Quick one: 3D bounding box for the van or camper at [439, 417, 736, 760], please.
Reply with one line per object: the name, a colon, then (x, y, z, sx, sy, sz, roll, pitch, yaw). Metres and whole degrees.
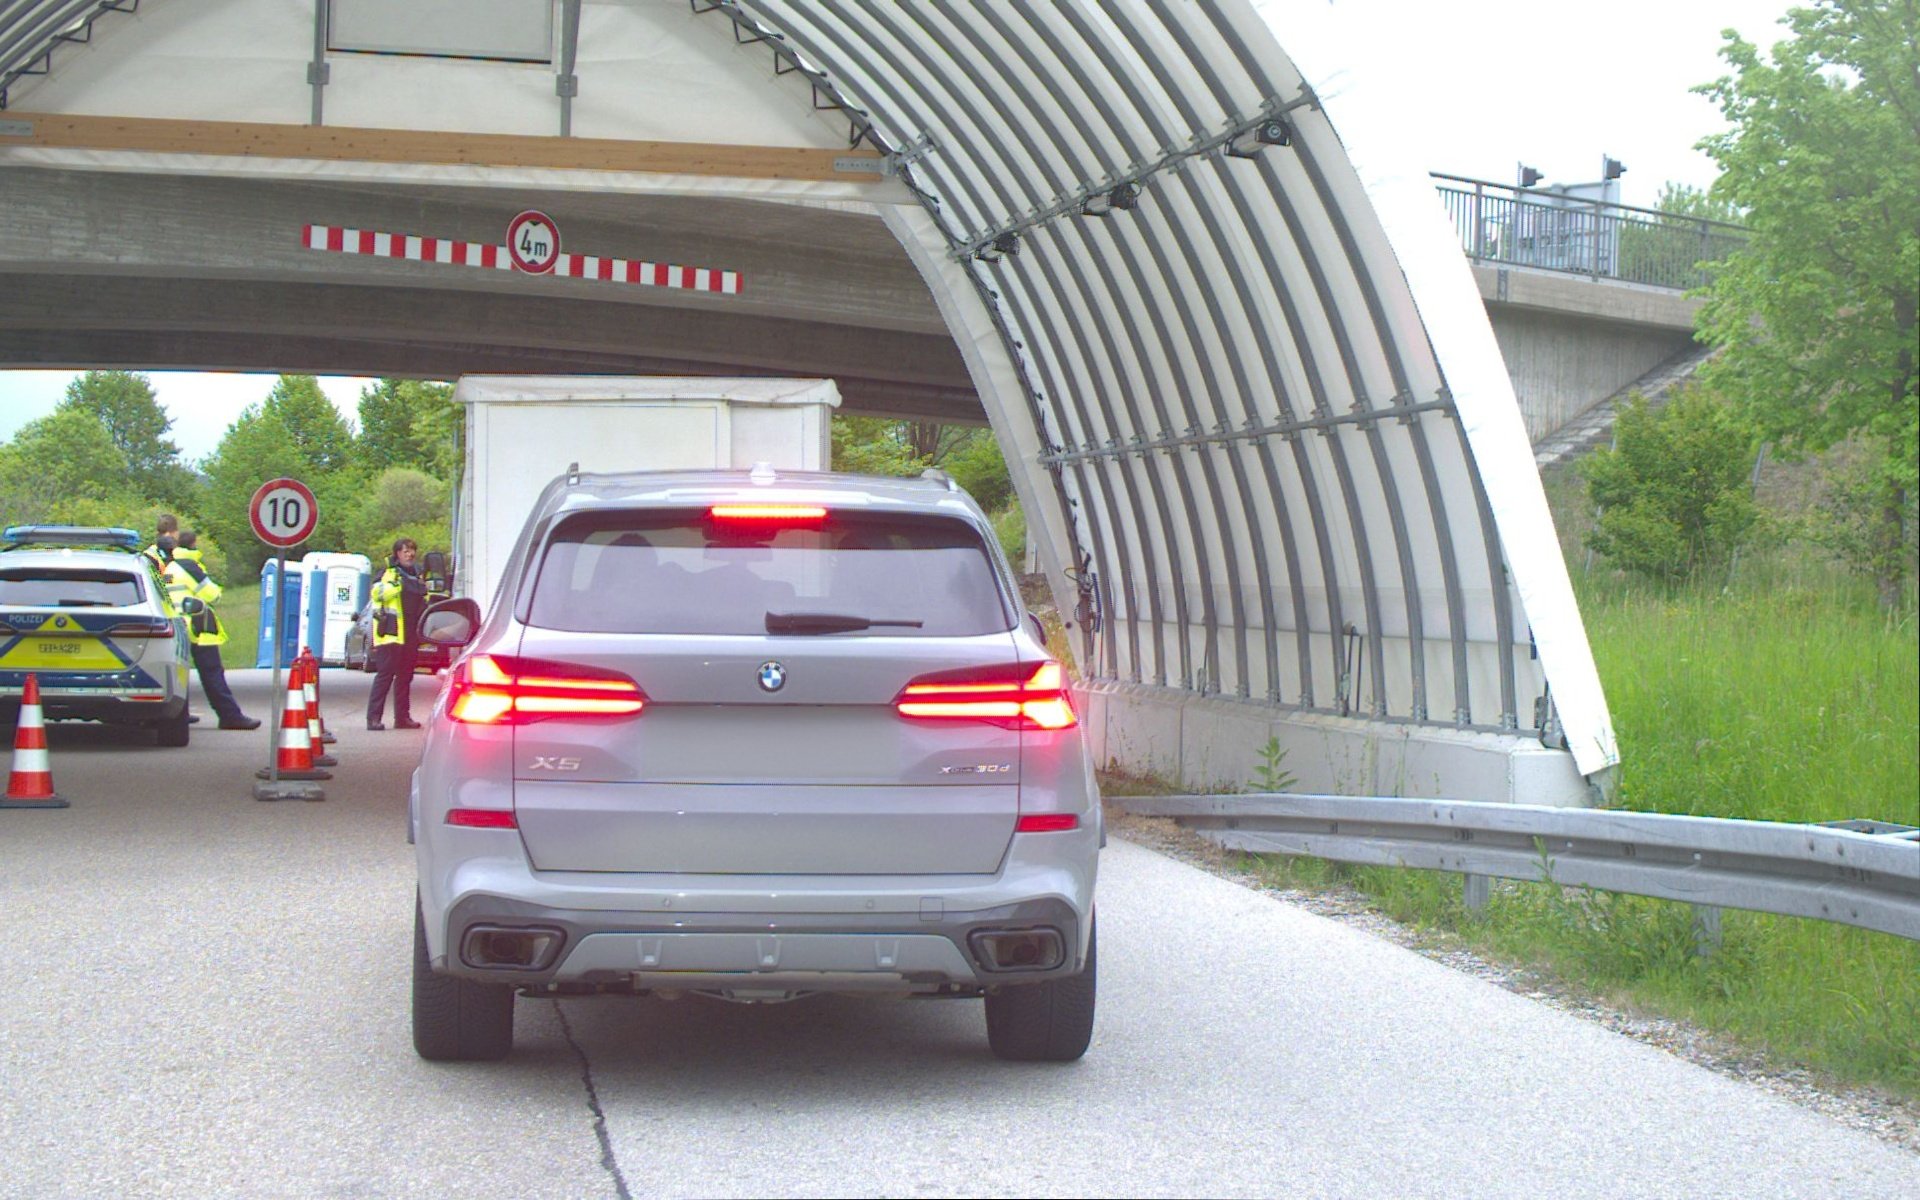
van or camper: (-3.158, -0.111, 28.118, 2.103, 2.510, 5.552, 0, 1, -9)

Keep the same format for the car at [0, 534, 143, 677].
car: (-14.438, 0.064, 49.661, 4.807, 2.007, 1.840, 0, 0, 7)

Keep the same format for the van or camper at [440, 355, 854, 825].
van or camper: (-2.194, -0.088, 22.052, 2.229, 2.543, 6.612, 0, 1, -9)

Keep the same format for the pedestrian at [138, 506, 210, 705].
pedestrian: (-7.007, 0.045, 30.647, 0.608, 1.748, 0.666, 0, 0, -13)

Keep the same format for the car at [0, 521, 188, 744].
car: (-7.183, 0.222, 27.395, 1.877, 1.641, 4.001, 0, 1, -15)

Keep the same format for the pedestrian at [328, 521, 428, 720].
pedestrian: (-5.097, 0.171, 30.091, 0.754, 1.716, 0.782, 0, 0, -18)

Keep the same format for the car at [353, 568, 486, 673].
car: (-9.313, 0.321, 59.033, 1.993, 1.716, 3.898, 0, 1, -13)

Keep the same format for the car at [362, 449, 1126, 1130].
car: (-0.801, 0.468, 10.991, 1.993, 1.759, 4.001, 0, 1, -7)

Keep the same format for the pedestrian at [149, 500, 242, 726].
pedestrian: (-6.582, 0.107, 29.580, 0.749, 1.912, 0.763, 0, 0, -15)
